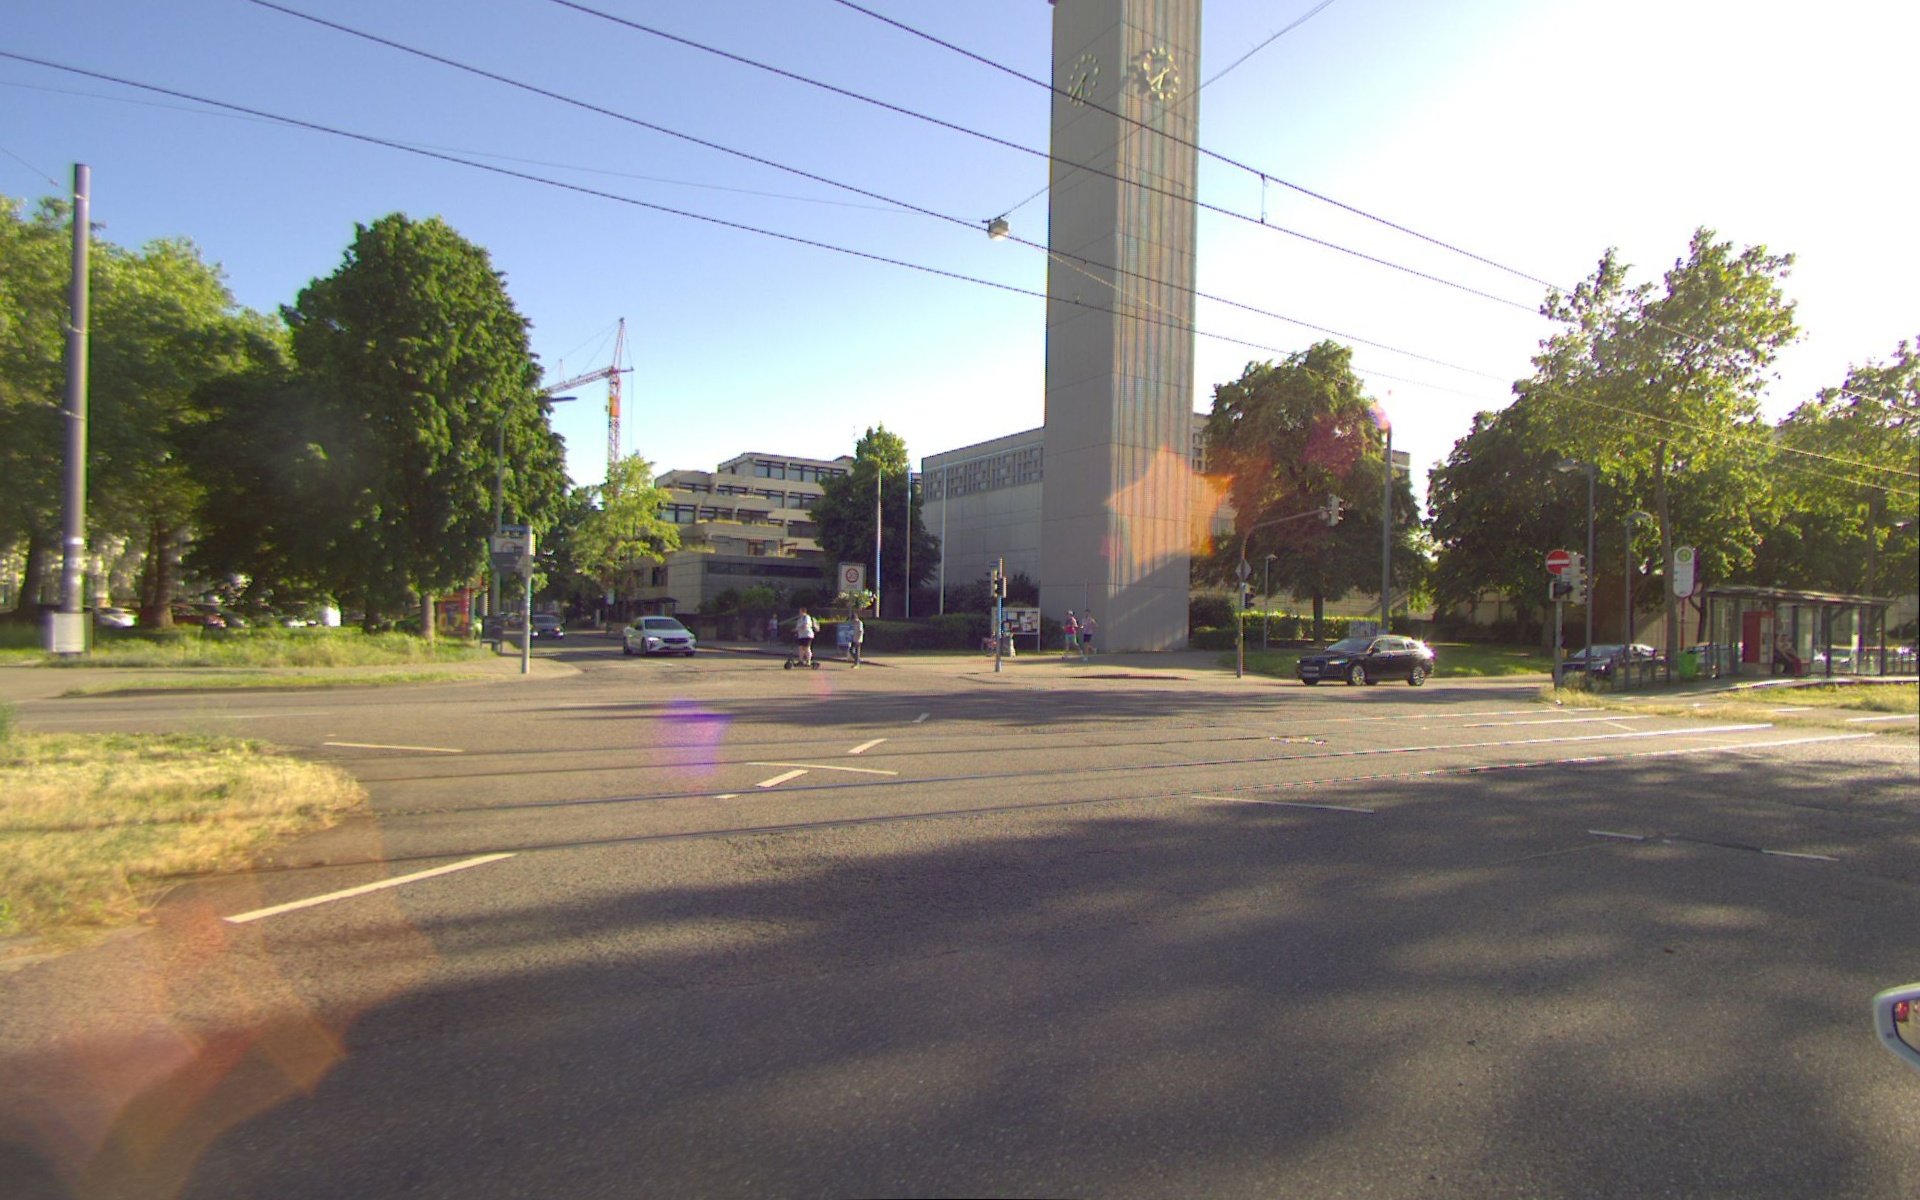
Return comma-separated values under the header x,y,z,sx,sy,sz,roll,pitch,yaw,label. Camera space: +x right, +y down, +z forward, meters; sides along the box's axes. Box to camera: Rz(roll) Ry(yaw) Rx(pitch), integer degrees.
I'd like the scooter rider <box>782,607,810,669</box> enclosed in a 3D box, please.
x,y,z,sx,sy,sz,roll,pitch,yaw,label
-4.627,1.070,28.341,0.568,1.718,0.590,2,-1,-35,scooter rider

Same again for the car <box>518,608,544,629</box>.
x,y,z,sx,sy,sz,roll,pitch,yaw,label
-44.555,1.890,104.201,1.976,2.057,4.494,2,-1,-29,car

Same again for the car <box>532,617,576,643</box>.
x,y,z,sx,sy,sz,roll,pitch,yaw,label
-25.025,1.824,61.787,1.976,1.481,4.494,2,-1,-29,car

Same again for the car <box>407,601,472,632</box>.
x,y,z,sx,sy,sz,roll,pitch,yaw,label
-36.430,1.174,70.322,3.954,2.040,1.984,2,0,-30,car

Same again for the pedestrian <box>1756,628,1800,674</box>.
x,y,z,sx,sy,sz,roll,pitch,yaw,label
25.127,1.558,30.869,0.761,1.359,0.732,2,-1,-15,pedestrian

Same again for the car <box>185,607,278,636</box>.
x,y,z,sx,sy,sz,roll,pitch,yaw,label
-42.273,1.243,58.362,3.872,1.572,1.992,2,-1,-18,car

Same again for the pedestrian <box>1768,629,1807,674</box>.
x,y,z,sx,sy,sz,roll,pitch,yaw,label
25.837,1.606,31.367,0.725,1.359,0.691,2,-1,-28,pedestrian

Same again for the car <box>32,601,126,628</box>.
x,y,z,sx,sy,sz,roll,pitch,yaw,label
-54.870,0.931,62.676,3.872,1.572,1.992,2,-1,-18,car

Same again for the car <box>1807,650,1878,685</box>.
x,y,z,sx,sy,sz,roll,pitch,yaw,label
45.351,3.434,51.603,3.884,1.657,1.586,2,-1,-30,car

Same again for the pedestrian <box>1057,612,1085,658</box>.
x,y,z,sx,sy,sz,roll,pitch,yaw,label
4.279,1.354,38.688,0.872,1.746,0.590,2,-1,-35,pedestrian

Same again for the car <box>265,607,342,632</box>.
x,y,z,sx,sy,sz,roll,pitch,yaw,label
-45.019,1.337,68.937,3.865,1.572,1.996,2,-1,-11,car

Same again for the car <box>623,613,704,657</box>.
x,y,z,sx,sy,sz,roll,pitch,yaw,label
-11.219,1.289,37.792,1.976,1.506,4.494,2,-1,-29,car

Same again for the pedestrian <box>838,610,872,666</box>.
x,y,z,sx,sy,sz,roll,pitch,yaw,label
-3.315,1.199,31.762,0.872,1.718,0.590,2,-1,-35,pedestrian

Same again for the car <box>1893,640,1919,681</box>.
x,y,z,sx,sy,sz,roll,pitch,yaw,label
55.773,3.481,58.046,3.887,2.292,1.706,2,-1,-30,car

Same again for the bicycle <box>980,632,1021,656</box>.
x,y,z,sx,sy,sz,roll,pitch,yaw,label
1.630,1.759,40.040,1.681,0.940,0.443,2,-1,-33,bicycle

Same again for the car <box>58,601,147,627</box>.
x,y,z,sx,sy,sz,roll,pitch,yaw,label
-56.055,0.908,65.724,3.872,1.572,1.992,2,-1,-18,car

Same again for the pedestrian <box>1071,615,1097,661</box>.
x,y,z,sx,sy,sz,roll,pitch,yaw,label
4.720,1.436,38.147,0.740,1.704,0.590,2,-1,-35,pedestrian

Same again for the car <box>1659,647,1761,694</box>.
x,y,z,sx,sy,sz,roll,pitch,yaw,label
25.384,2.361,33.976,3.497,1.446,1.597,2,-1,-32,car

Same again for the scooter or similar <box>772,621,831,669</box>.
x,y,z,sx,sy,sz,roll,pitch,yaw,label
-4.482,1.267,28.448,1.525,1.327,0.592,2,-1,-35,scooter or similar

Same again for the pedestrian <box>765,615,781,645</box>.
x,y,z,sx,sy,sz,roll,pitch,yaw,label
-9.647,1.549,51.799,0.540,1.486,0.863,2,-1,-27,pedestrian

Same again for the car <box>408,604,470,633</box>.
x,y,z,sx,sy,sz,roll,pitch,yaw,label
-38.605,1.358,74.396,3.954,2.040,1.984,2,0,-30,car

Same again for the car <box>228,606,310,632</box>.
x,y,z,sx,sy,sz,roll,pitch,yaw,label
-44.234,1.208,64.390,3.872,1.572,1.992,2,-1,-18,car

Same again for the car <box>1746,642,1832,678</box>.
x,y,z,sx,sy,sz,roll,pitch,yaw,label
36.016,2.581,43.600,3.882,1.463,1.587,2,-1,-29,car

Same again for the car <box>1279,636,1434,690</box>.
x,y,z,sx,sy,sz,roll,pitch,yaw,label
11.753,1.835,29.715,4.476,1.461,1.940,2,-1,-30,car

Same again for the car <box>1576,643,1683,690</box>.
x,y,z,sx,sy,sz,roll,pitch,yaw,label
18.731,1.836,28.093,2.930,1.220,1.319,2,-1,-29,car
